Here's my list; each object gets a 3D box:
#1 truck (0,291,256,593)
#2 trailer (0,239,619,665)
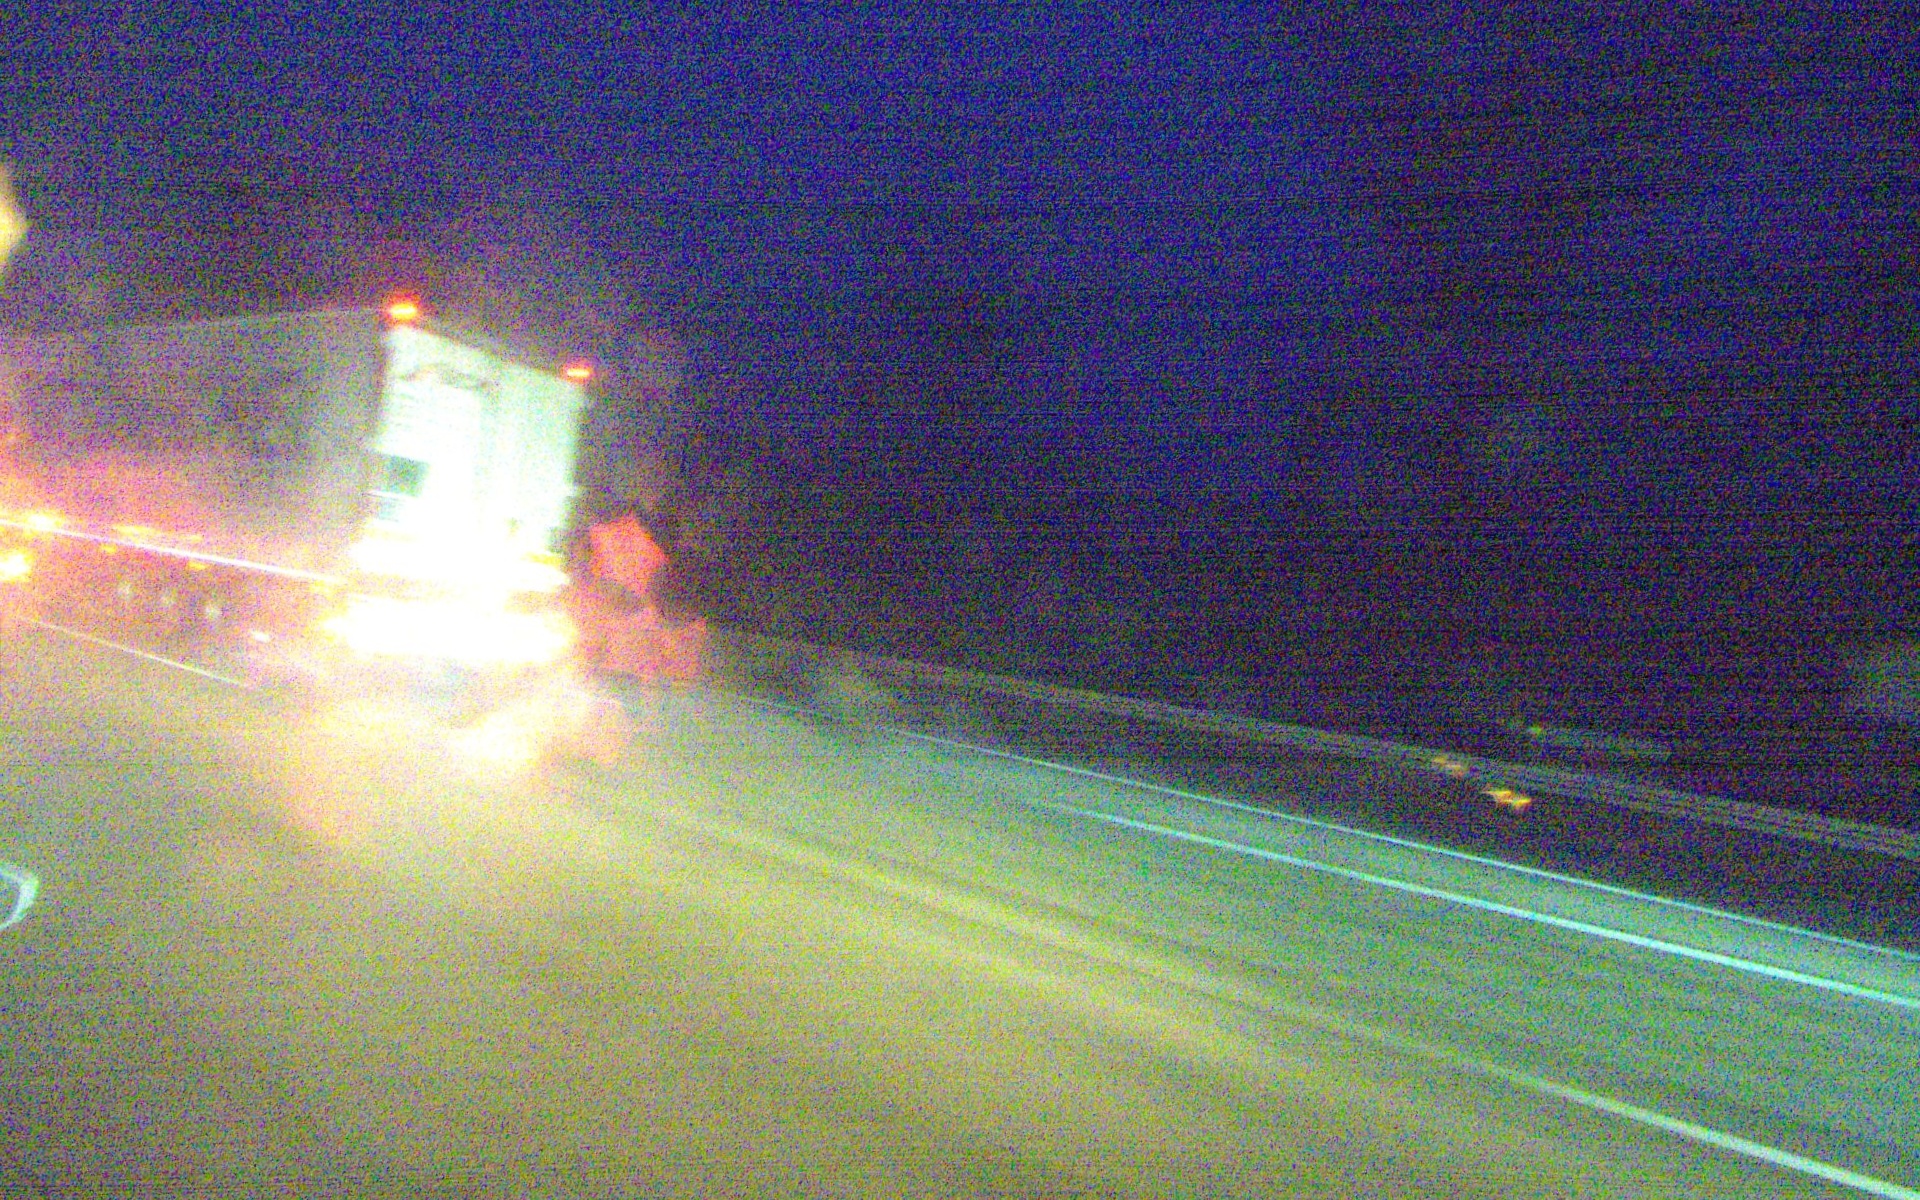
[{"bbox_3d":[-16.361,-2.761,18.271,7.324,4.318,2.808,7,-1,31],"label":"truck"},{"bbox_3d":[-10.294,-2.034,14.542,11.895,4.262,2.808,7,-1,31],"label":"trailer"}]
